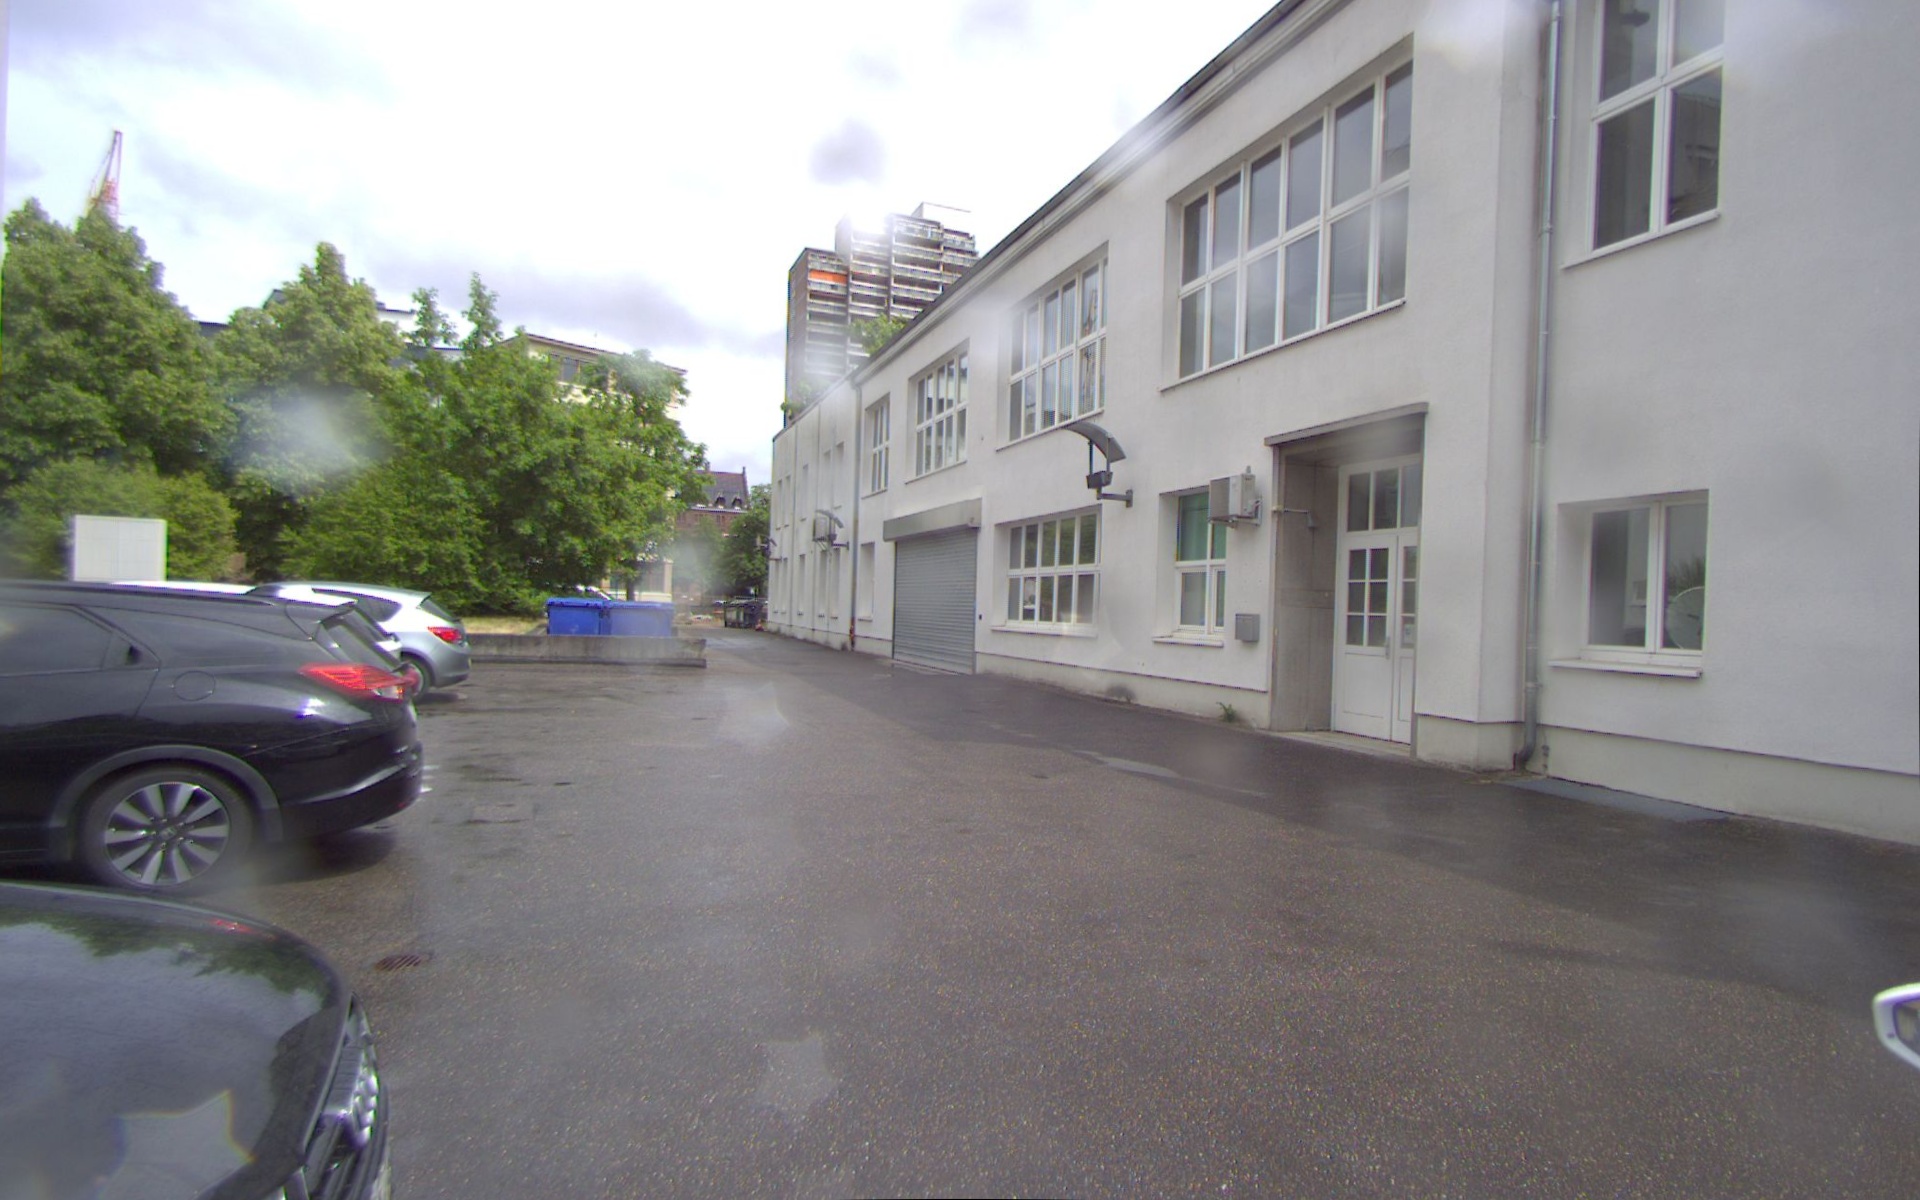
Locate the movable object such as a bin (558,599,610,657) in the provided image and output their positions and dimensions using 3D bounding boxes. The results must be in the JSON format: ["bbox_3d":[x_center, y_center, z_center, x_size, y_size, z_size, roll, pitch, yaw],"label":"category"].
[{"bbox_3d":[-9.218,0.673,24.685,1.113,1.346,1.203,2,0,-18],"label":"movable object such as a bin"}]

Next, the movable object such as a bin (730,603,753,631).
[{"bbox_3d":[-11.321,0.887,51.958,1.029,1.374,1.203,2,0,-17],"label":"movable object such as a bin"}]

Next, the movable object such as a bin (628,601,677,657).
[{"bbox_3d":[-7.756,0.731,25.343,1.113,1.346,1.203,2,0,-18],"label":"movable object such as a bin"}]

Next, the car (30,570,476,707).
[{"bbox_3d":[-8.480,0.503,12.584,4.262,1.462,1.750,3,0,-28],"label":"car"}]

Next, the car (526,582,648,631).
[{"bbox_3d":[-14.427,0.258,39.103,4.264,1.750,1.716,2,0,-16],"label":"car"}]

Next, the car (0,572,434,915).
[{"bbox_3d":[-5.003,0.588,4.860,4.262,1.462,1.750,3,0,-28],"label":"car"}]

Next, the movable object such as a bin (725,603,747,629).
[{"bbox_3d":[-12.222,0.848,54.709,1.049,1.374,1.260,2,0,-17],"label":"movable object such as a bin"}]

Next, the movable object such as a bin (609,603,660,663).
[{"bbox_3d":[-7.600,0.755,23.514,1.078,1.343,1.203,2,0,-18],"label":"movable object such as a bin"}]

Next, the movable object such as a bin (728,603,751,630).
[{"bbox_3d":[-11.689,0.870,53.229,1.046,1.374,1.214,2,0,-17],"label":"movable object such as a bin"}]

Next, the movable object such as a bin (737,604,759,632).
[{"bbox_3d":[-10.652,0.891,50.394,0.963,1.374,0.916,2,0,-18],"label":"movable object such as a bin"}]

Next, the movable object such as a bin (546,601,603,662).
[{"bbox_3d":[-8.835,0.711,23.052,1.113,1.346,1.203,2,0,-18],"label":"movable object such as a bin"}]

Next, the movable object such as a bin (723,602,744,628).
[{"bbox_3d":[-12.631,0.830,56.014,1.049,1.374,1.260,2,0,-17],"label":"movable object such as a bin"}]

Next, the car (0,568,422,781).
[{"bbox_3d":[-6.626,0.534,7.902,4.072,1.462,1.685,3,0,-26],"label":"car"}]

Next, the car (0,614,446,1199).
[{"bbox_3d":[-2.940,0.658,0.728,4.471,1.370,1.751,3,0,-27],"label":"car"}]
